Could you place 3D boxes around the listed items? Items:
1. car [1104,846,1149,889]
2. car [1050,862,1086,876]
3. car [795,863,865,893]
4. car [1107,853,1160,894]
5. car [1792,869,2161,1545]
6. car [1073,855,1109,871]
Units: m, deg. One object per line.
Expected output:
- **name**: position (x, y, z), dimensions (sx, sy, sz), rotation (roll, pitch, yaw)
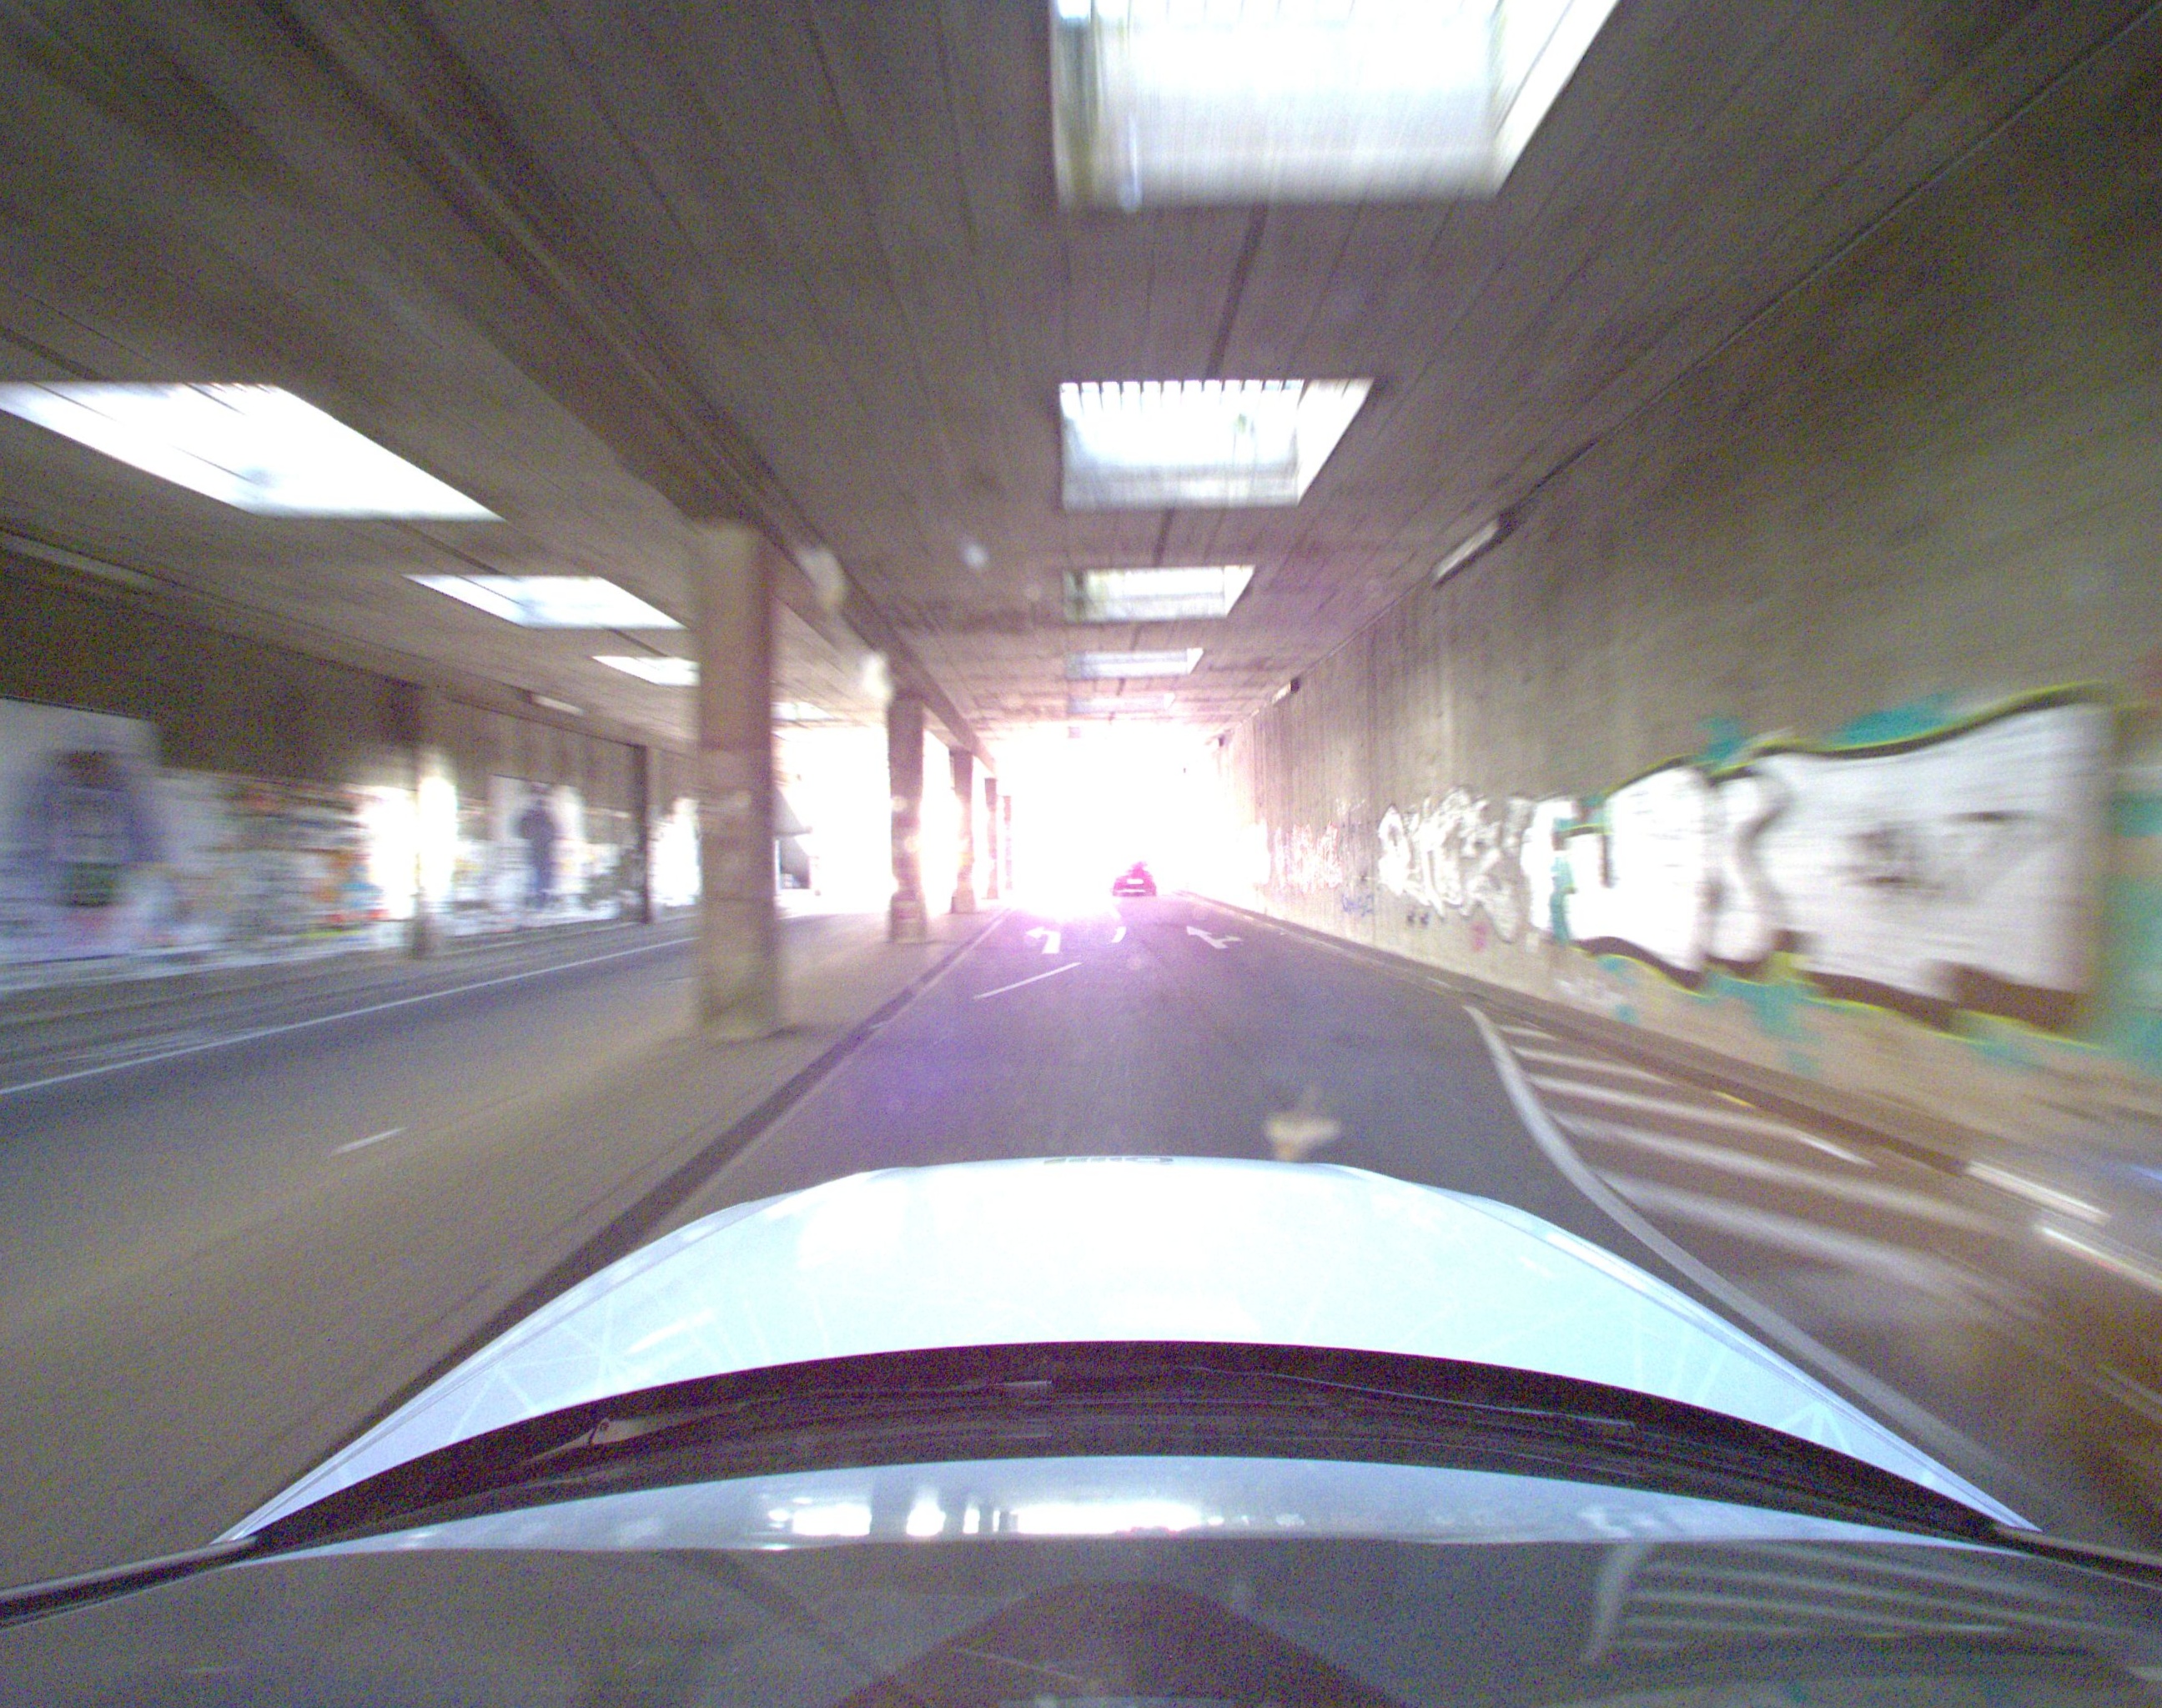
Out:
- **car**: position (2.108, 0.606, 39.019), dimensions (1.810, 1.882, 4.583), rotation (-2, 0, -1)
- **car**: position (-1.510, 1.761, 95.393), dimensions (3.970, 1.574, 1.641), rotation (-1, -1, 3)
- **car**: position (-18.238, 1.746, 59.315), dimensions (4.466, 2.013, 2.000), rotation (-1, 2, -1)
- **car**: position (2.036, 0.752, 32.752), dimensions (1.820, 1.501, 4.210), rotation (-1, 0, 0)
- **car**: position (3.112, 0.728, 0.368), dimensions (1.696, 1.374, 4.370), rotation (-1, 0, -2)
- **car**: position (1.238, 1.086, 99.609), dimensions (4.129, 1.739, 2.004), rotation (-2, 0, 6)
